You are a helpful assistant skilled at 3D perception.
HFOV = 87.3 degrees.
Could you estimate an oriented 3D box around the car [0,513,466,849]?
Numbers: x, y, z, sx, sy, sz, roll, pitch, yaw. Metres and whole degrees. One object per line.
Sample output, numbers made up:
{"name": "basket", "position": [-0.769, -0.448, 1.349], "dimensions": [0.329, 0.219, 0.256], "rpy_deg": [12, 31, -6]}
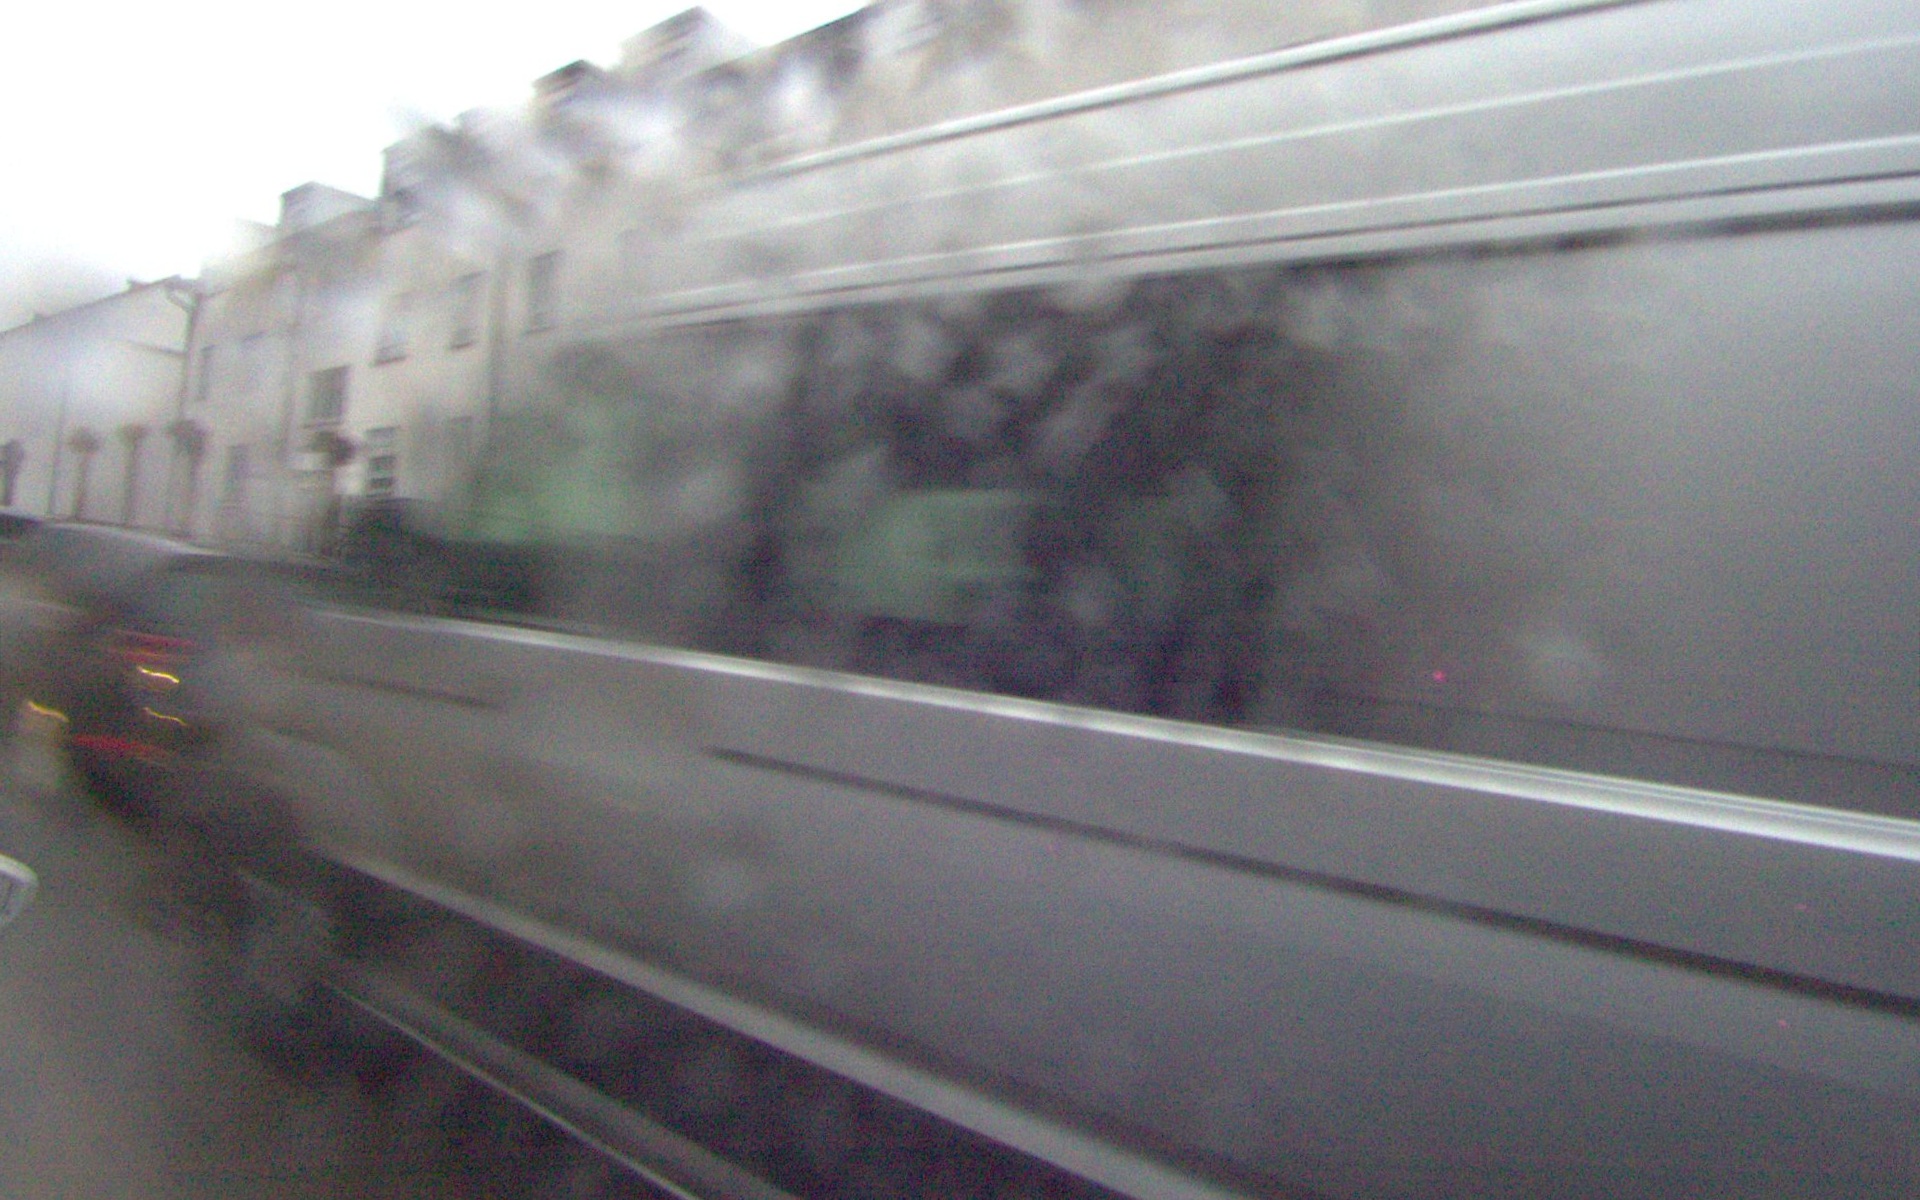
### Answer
{"name": "car", "position": [-5.066, 0.282, 6.248], "dimensions": [4.056, 1.407, 1.657], "rpy_deg": [6, 0, 33]}

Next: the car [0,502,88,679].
{"name": "car", "position": [-9.705, -0.296, 9.023], "dimensions": [4.459, 1.407, 1.657], "rpy_deg": [6, 0, 34]}

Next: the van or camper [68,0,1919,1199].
{"name": "van or camper", "position": [0.545, 0.315, 2.359], "dimensions": [6.681, 2.538, 2.016], "rpy_deg": [7, 0, 32]}
